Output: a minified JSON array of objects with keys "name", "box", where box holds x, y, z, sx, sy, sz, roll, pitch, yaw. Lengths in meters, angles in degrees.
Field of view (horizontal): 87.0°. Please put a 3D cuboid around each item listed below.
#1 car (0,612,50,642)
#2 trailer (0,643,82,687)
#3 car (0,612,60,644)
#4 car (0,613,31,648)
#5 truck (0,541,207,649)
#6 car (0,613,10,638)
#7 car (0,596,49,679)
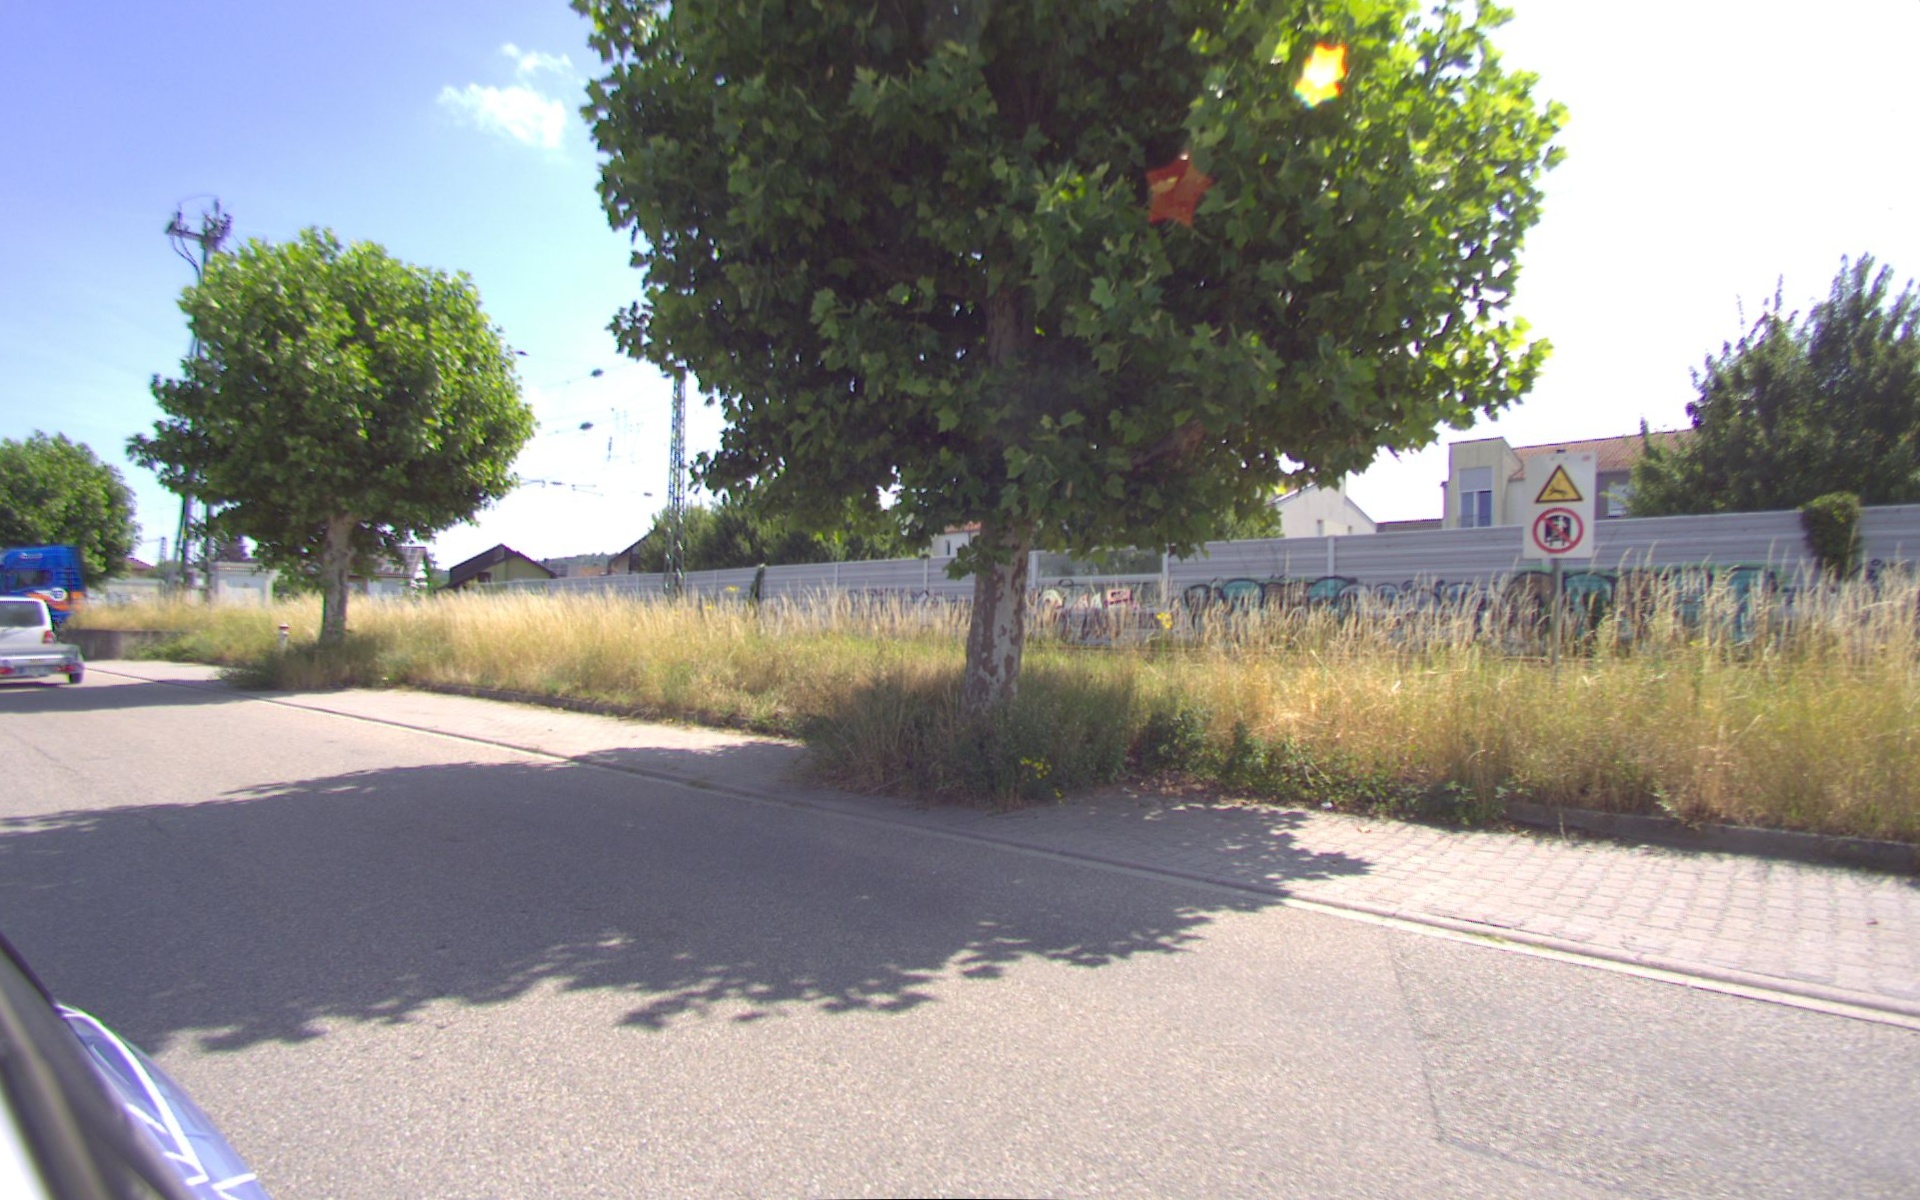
[{"name":"car","box":[-49.982,1.412,52.190,1.924,1.544,4.295,-1,-2,39]},{"name":"trailer","box":[-20.018,1.331,21.261,4.220,0.857,1.799,-2,-4,41]},{"name":"car","box":[-47.838,1.405,50.595,1.997,1.559,3.949,0,-1,37]},{"name":"car","box":[-45.287,1.392,46.199,1.847,1.630,3.934,-1,-2,36]},{"name":"truck","box":[-33.750,-0.086,39.427,2.660,3.852,6.552,-1,-2,37]},{"name":"car","box":[-58.350,1.463,59.199,1.787,1.461,3.901,-1,-2,44]},{"name":"car","box":[-23.341,0.860,24.138,4.481,1.872,1.819,-1,-2,40]}]
